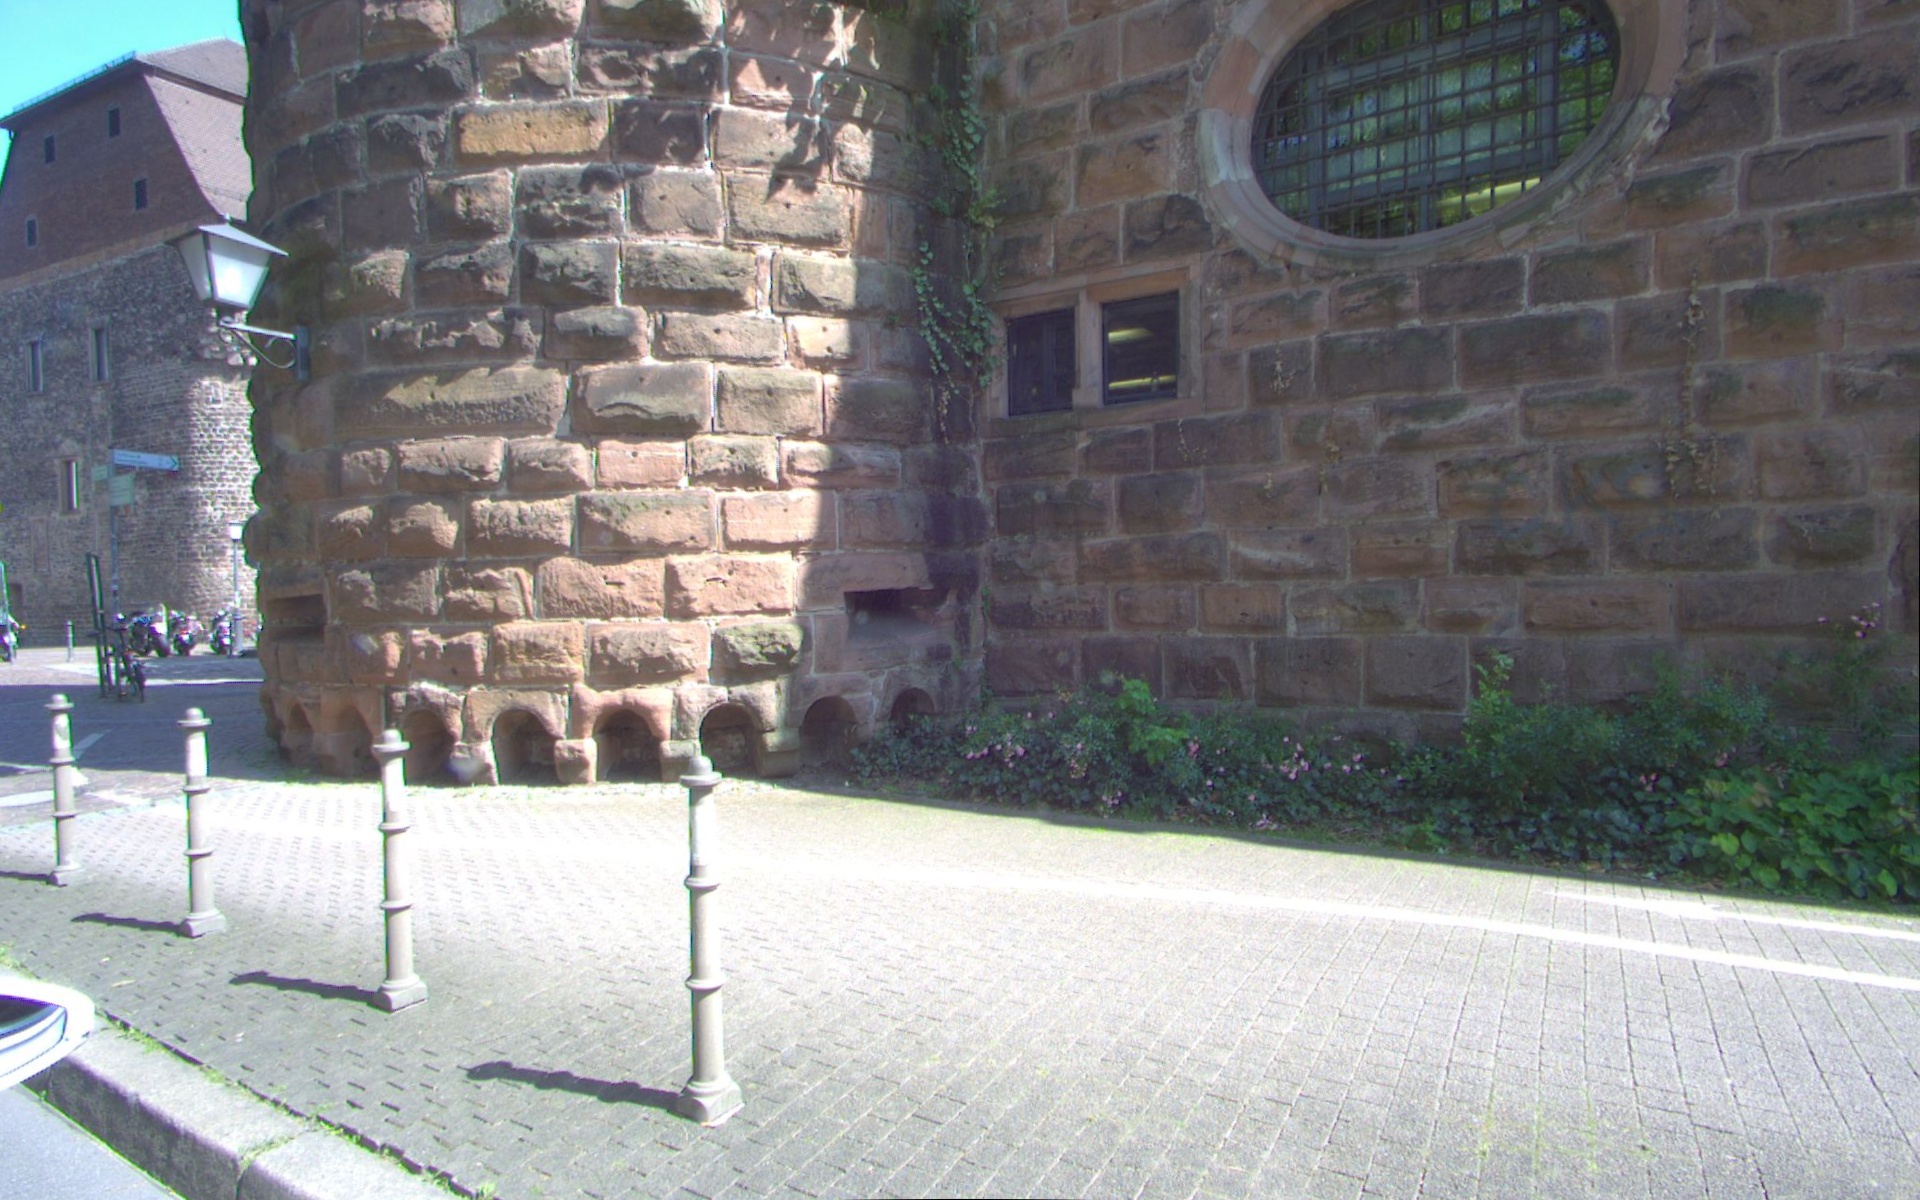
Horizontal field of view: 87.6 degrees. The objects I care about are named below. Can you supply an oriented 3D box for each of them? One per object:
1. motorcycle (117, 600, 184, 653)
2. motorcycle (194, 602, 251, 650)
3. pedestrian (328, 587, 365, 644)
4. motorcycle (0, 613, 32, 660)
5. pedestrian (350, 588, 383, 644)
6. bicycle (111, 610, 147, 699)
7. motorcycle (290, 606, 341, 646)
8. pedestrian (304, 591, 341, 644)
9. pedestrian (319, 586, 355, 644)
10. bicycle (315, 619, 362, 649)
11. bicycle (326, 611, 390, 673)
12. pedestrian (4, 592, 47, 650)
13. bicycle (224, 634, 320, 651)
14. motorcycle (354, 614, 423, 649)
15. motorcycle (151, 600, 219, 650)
[{"bbox_3d":[-20.554,0.675,25.419,2.169,1.282,0.654,-1,-1,32],"label":"motorcycle"},{"bbox_3d":[-19.949,0.717,27.066,2.002,1.251,0.545,-1,-2,32],"label":"motorcycle"},{"bbox_3d":[-20.826,0.532,33.997,0.805,1.908,0.671,0,-1,1],"label":"pedestrian"},{"bbox_3d":[-22.202,0.824,23.066,2.453,1.026,0.565,0,1,32],"label":"motorcycle"},{"bbox_3d":[-20.672,0.564,34.883,0.805,1.944,0.670,0,-1,-9],"label":"pedestrian"},{"bbox_3d":[-12.023,0.756,14.472,1.750,1.220,0.192,0,1,44],"label":"bicycle"},{"bbox_3d":[-18.078,0.736,28.080,1.814,1.087,0.506,-1,-2,32],"label":"motorcycle"},{"bbox_3d":[-21.868,0.597,34.358,0.830,1.826,0.654,0,0,-4],"label":"pedestrian"},{"bbox_3d":[-22.007,0.535,35.383,0.861,2.039,0.732,0,-1,-10],"label":"pedestrian"},{"bbox_3d":[-18.384,0.995,29.620,1.898,0.831,0.353,0,-1,32],"label":"bicycle"},{"bbox_3d":[-11.953,0.805,19.857,1.707,1.178,0.445,0,1,36],"label":"bicycle"},{"bbox_3d":[-27.827,0.608,29.831,0.799,1.684,0.651,-1,1,-35],"label":"pedestrian"},{"bbox_3d":[-17.560,1.081,25.597,1.916,0.386,0.909,0,-2,-44],"label":"bicycle"},{"bbox_3d":[-17.964,0.989,31.502,0.474,1.067,1.858,-1,-2,40],"label":"motorcycle"},{"bbox_3d":[-20.353,0.670,26.274,2.280,1.251,0.674,-1,-2,32],"label":"motorcycle"}]
